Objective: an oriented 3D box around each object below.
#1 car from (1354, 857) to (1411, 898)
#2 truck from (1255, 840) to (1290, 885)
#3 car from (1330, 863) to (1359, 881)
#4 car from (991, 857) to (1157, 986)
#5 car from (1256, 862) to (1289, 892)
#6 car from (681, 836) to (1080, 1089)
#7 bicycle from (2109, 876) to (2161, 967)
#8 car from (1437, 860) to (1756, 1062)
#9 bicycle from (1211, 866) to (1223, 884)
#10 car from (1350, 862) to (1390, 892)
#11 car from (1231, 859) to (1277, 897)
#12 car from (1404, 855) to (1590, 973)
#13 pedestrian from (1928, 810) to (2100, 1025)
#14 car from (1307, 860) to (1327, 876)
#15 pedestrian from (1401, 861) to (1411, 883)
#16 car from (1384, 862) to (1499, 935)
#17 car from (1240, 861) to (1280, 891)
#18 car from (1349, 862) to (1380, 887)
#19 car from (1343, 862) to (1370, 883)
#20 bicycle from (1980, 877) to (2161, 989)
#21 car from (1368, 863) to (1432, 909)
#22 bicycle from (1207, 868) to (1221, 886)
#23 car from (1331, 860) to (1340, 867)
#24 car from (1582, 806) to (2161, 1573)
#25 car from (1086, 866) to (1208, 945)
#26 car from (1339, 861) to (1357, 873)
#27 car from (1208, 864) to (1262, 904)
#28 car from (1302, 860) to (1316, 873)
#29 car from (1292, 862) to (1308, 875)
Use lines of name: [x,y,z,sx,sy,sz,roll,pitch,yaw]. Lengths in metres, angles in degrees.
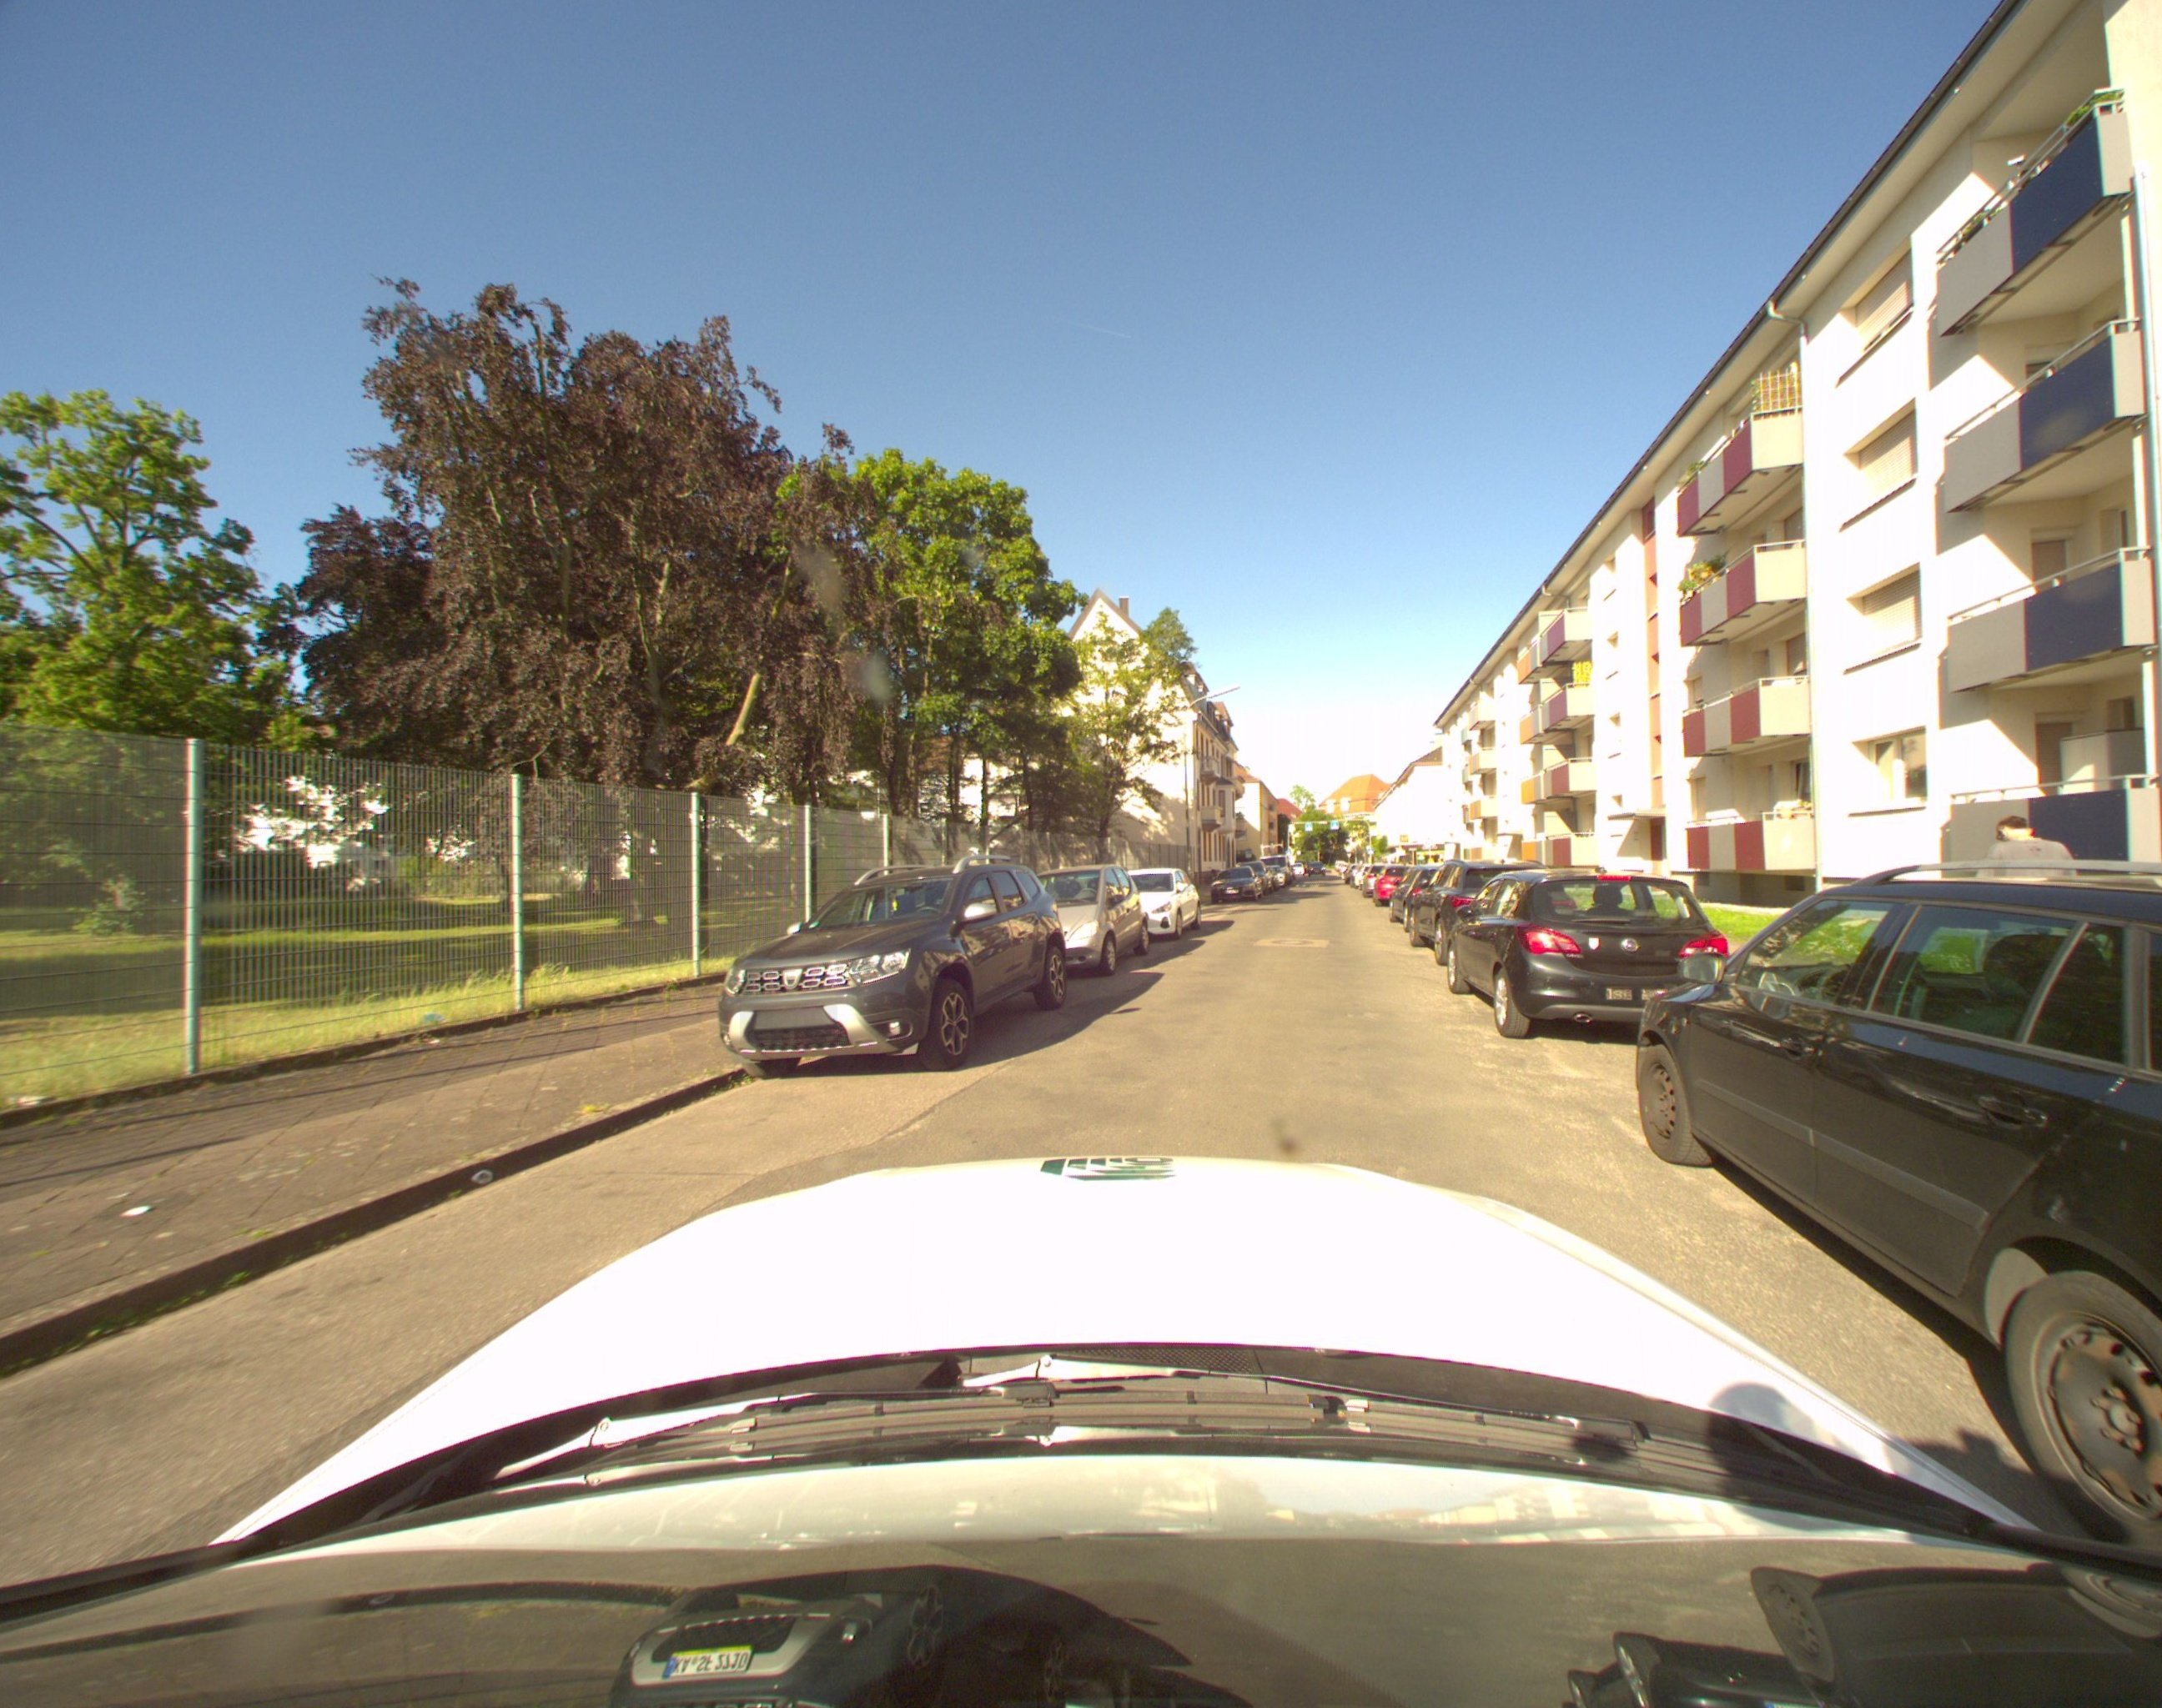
car: [12.804,0.978,34.821,1.884,1.622,4.620,0,-1,15]
truck: [13.895,0.637,58.933,2.243,2.986,7.302,-1,-1,14]
car: [22.868,1.564,70.794,1.841,1.523,4.791,0,-1,11]
car: [0.049,0.947,12.775,1.552,1.643,3.630,-5,-2,15]
car: [12.278,1.426,51.947,1.779,1.541,4.659,-7,-2,14]
car: [-1.443,0.801,7.620,1.699,1.664,4.181,-5,-2,15]
bicycle: [11.751,0.731,8.143,0.481,0.960,2.292,-2,-1,13]
car: [4.694,0.825,8.055,1.593,1.484,3.813,-1,-1,15]
bicycle: [9.985,1.545,59.826,0.565,1.279,2.351,-1,0,17]
car: [16.239,1.276,45.879,1.674,1.462,3.833,4,0,14]
car: [8.593,1.141,40.107,1.865,1.664,4.951,-3,-2,15]
car: [6.384,0.821,13.012,1.739,1.559,4.271,-1,-1,14]
pedestrian: [8.217,0.531,7.221,0.639,1.771,0.845,-1,-1,21]
car: [25.095,1.497,86.495,1.807,1.634,4.276,-2,-1,18]
pedestrian: [22.049,1.219,55.281,0.570,1.433,0.474,-3,-1,18]
car: [8.121,0.929,18.683,1.739,1.481,4.095,-1,-1,14]
car: [10.160,1.224,45.977,1.778,1.563,4.479,0,-1,17]
car: [17.490,1.239,50.291,1.675,1.467,3.599,1,0,17]
car: [20.141,1.325,59.687,1.778,1.471,4.358,-1,-1,17]
bicycle: [10.701,0.778,8.525,0.481,1.012,2.292,-2,-1,13]
car: [10.812,1.032,27.826,1.738,1.444,4.544,-1,-1,18]
bicycle: [9.292,1.606,56.968,0.624,1.204,2.351,-1,0,17]
car: [50.118,1.907,160.491,1.625,1.441,3.433,-1,-1,16]
car: [3.282,0.682,2.709,1.606,1.548,4.101,-1,-1,15]
car: [1.561,1.033,17.643,1.780,1.445,4.137,-3,-2,16]
car: [31.650,1.527,96.646,1.832,1.441,3.432,-1,-1,15]
car: [6.469,1.197,33.913,1.780,1.471,4.520,-4,-2,15]
car: [31.648,1.710,112.929,1.684,1.779,4.116,-1,-1,17]
car: [27.613,1.802,102.642,1.777,1.480,4.117,-2,-1,17]
